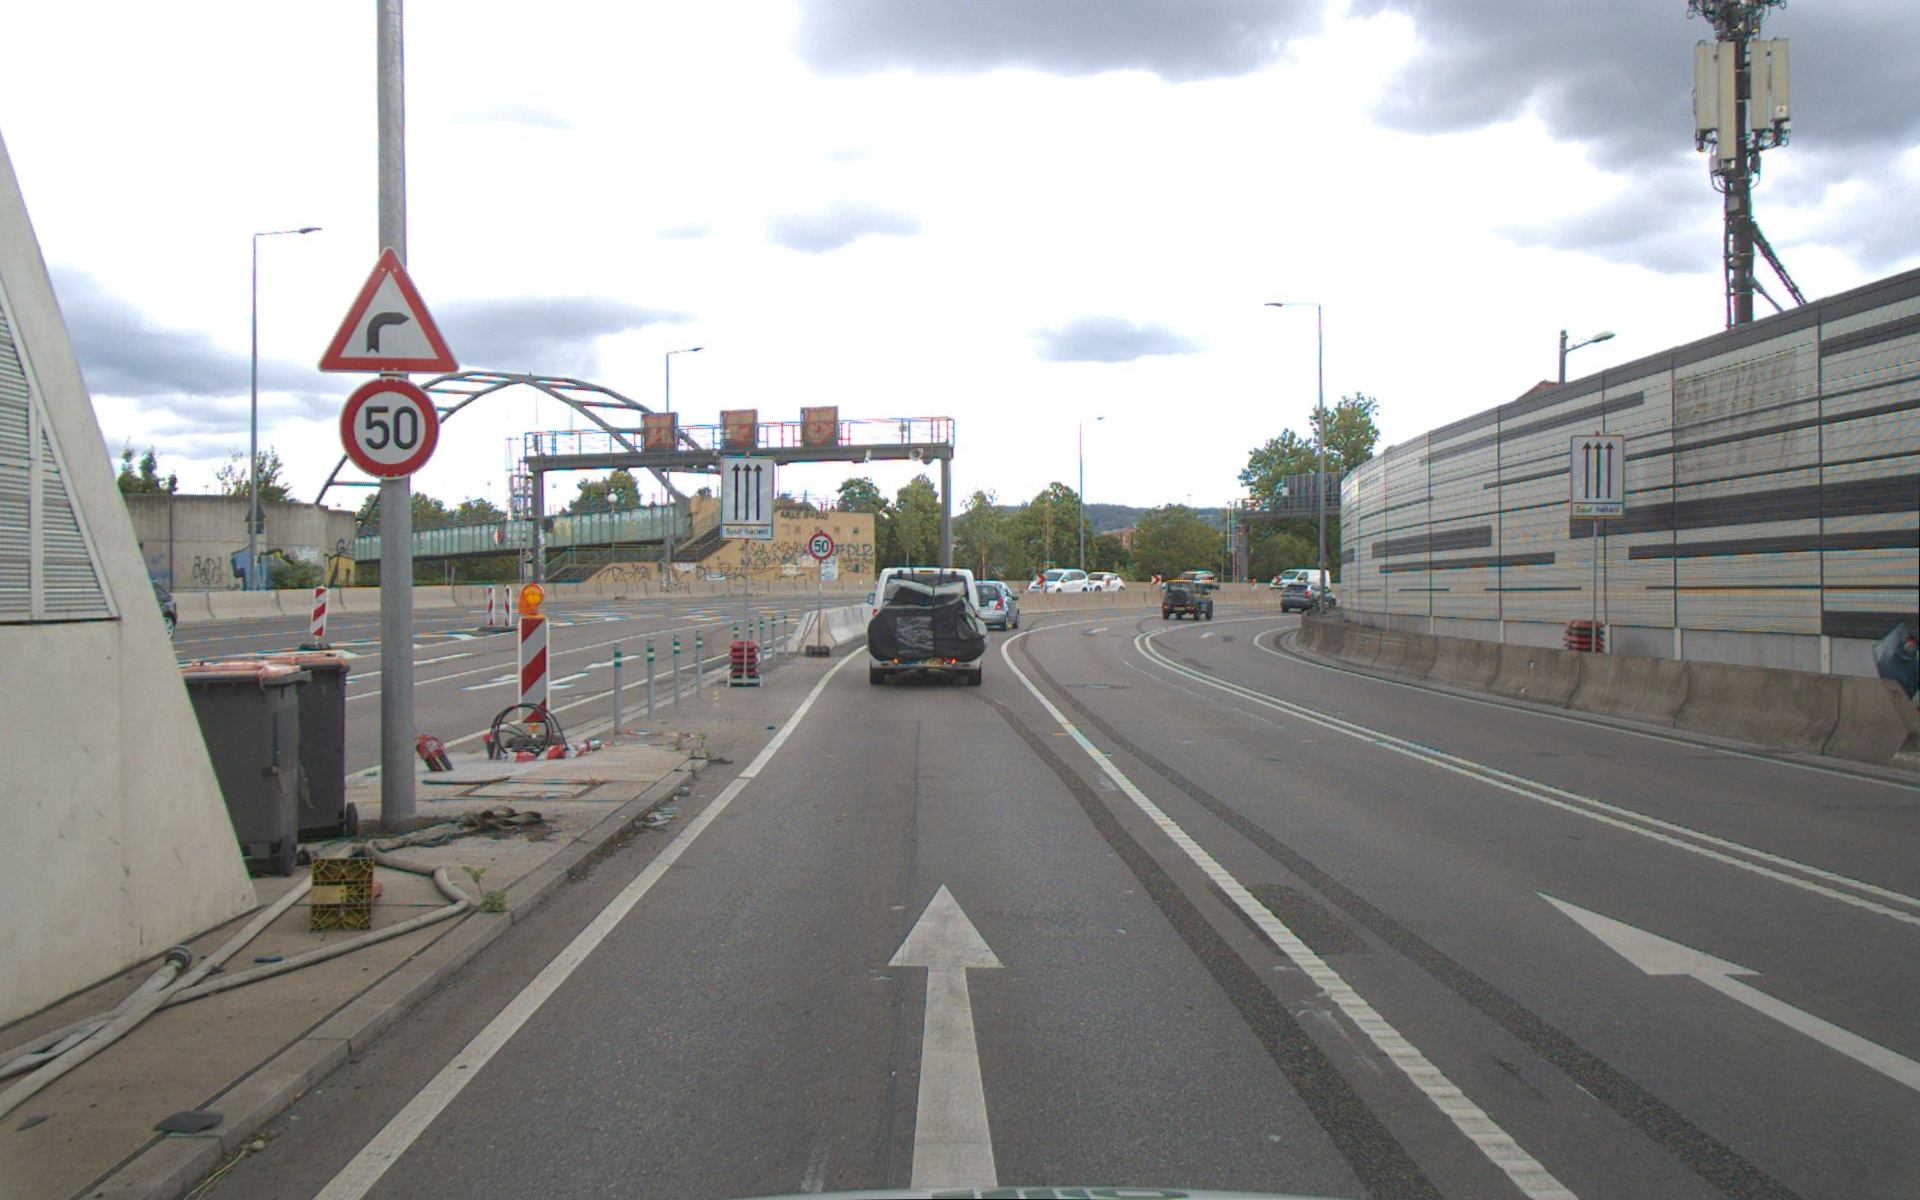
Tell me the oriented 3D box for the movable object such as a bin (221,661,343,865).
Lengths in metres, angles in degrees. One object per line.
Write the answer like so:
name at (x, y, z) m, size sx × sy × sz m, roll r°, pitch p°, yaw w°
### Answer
movable object such as a bin at (-3.589, 0.855, 8.779) m, size 0.479 × 1.035 × 0.423 m, roll 1°, pitch 0°, yaw -7°

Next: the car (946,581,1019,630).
car at (0.798, 0.151, 55.183) m, size 1.879 × 1.514 × 4.069 m, roll 0°, pitch 1°, yaw 9°

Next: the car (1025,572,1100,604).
car at (5.938, -0.691, 95.107) m, size 1.916 × 1.780 × 5.257 m, roll 0°, pitch 0°, yaw 35°

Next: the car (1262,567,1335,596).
car at (23.480, -1.274, 114.632) m, size 5.051 × 1.985 × 2.215 m, roll 0°, pitch 1°, yaw -38°

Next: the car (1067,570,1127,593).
car at (8.748, -1.162, 105.504) m, size 1.734 × 1.459 × 4.119 m, roll 0°, pitch 0°, yaw 42°

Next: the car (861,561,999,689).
car at (-0.613, 0.381, 27.792) m, size 1.954 × 1.891 × 5.635 m, roll 1°, pitch 0°, yaw -5°

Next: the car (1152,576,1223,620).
car at (10.161, -0.081, 73.616) m, size 1.954 × 1.892 × 3.996 m, roll 1°, pitch 0°, yaw 26°

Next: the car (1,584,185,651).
car at (-18.899, 0.348, 36.266) m, size 1.825 × 1.374 × 4.195 m, roll 0°, pitch 0°, yaw 0°

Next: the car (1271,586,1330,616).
car at (18.293, 0.021, 88.742) m, size 1.975 × 1.514 × 4.057 m, roll 1°, pitch 1°, yaw 30°

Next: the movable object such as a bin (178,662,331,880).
movable object such as a bin at (-3.521, 0.839, 8.284) m, size 0.541 × 1.026 × 0.546 m, roll 1°, pitch 0°, yaw -5°

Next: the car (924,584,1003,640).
car at (0.136, 0.308, 45.879) m, size 1.776 × 1.459 × 4.068 m, roll -1°, pitch 0°, yaw 6°
